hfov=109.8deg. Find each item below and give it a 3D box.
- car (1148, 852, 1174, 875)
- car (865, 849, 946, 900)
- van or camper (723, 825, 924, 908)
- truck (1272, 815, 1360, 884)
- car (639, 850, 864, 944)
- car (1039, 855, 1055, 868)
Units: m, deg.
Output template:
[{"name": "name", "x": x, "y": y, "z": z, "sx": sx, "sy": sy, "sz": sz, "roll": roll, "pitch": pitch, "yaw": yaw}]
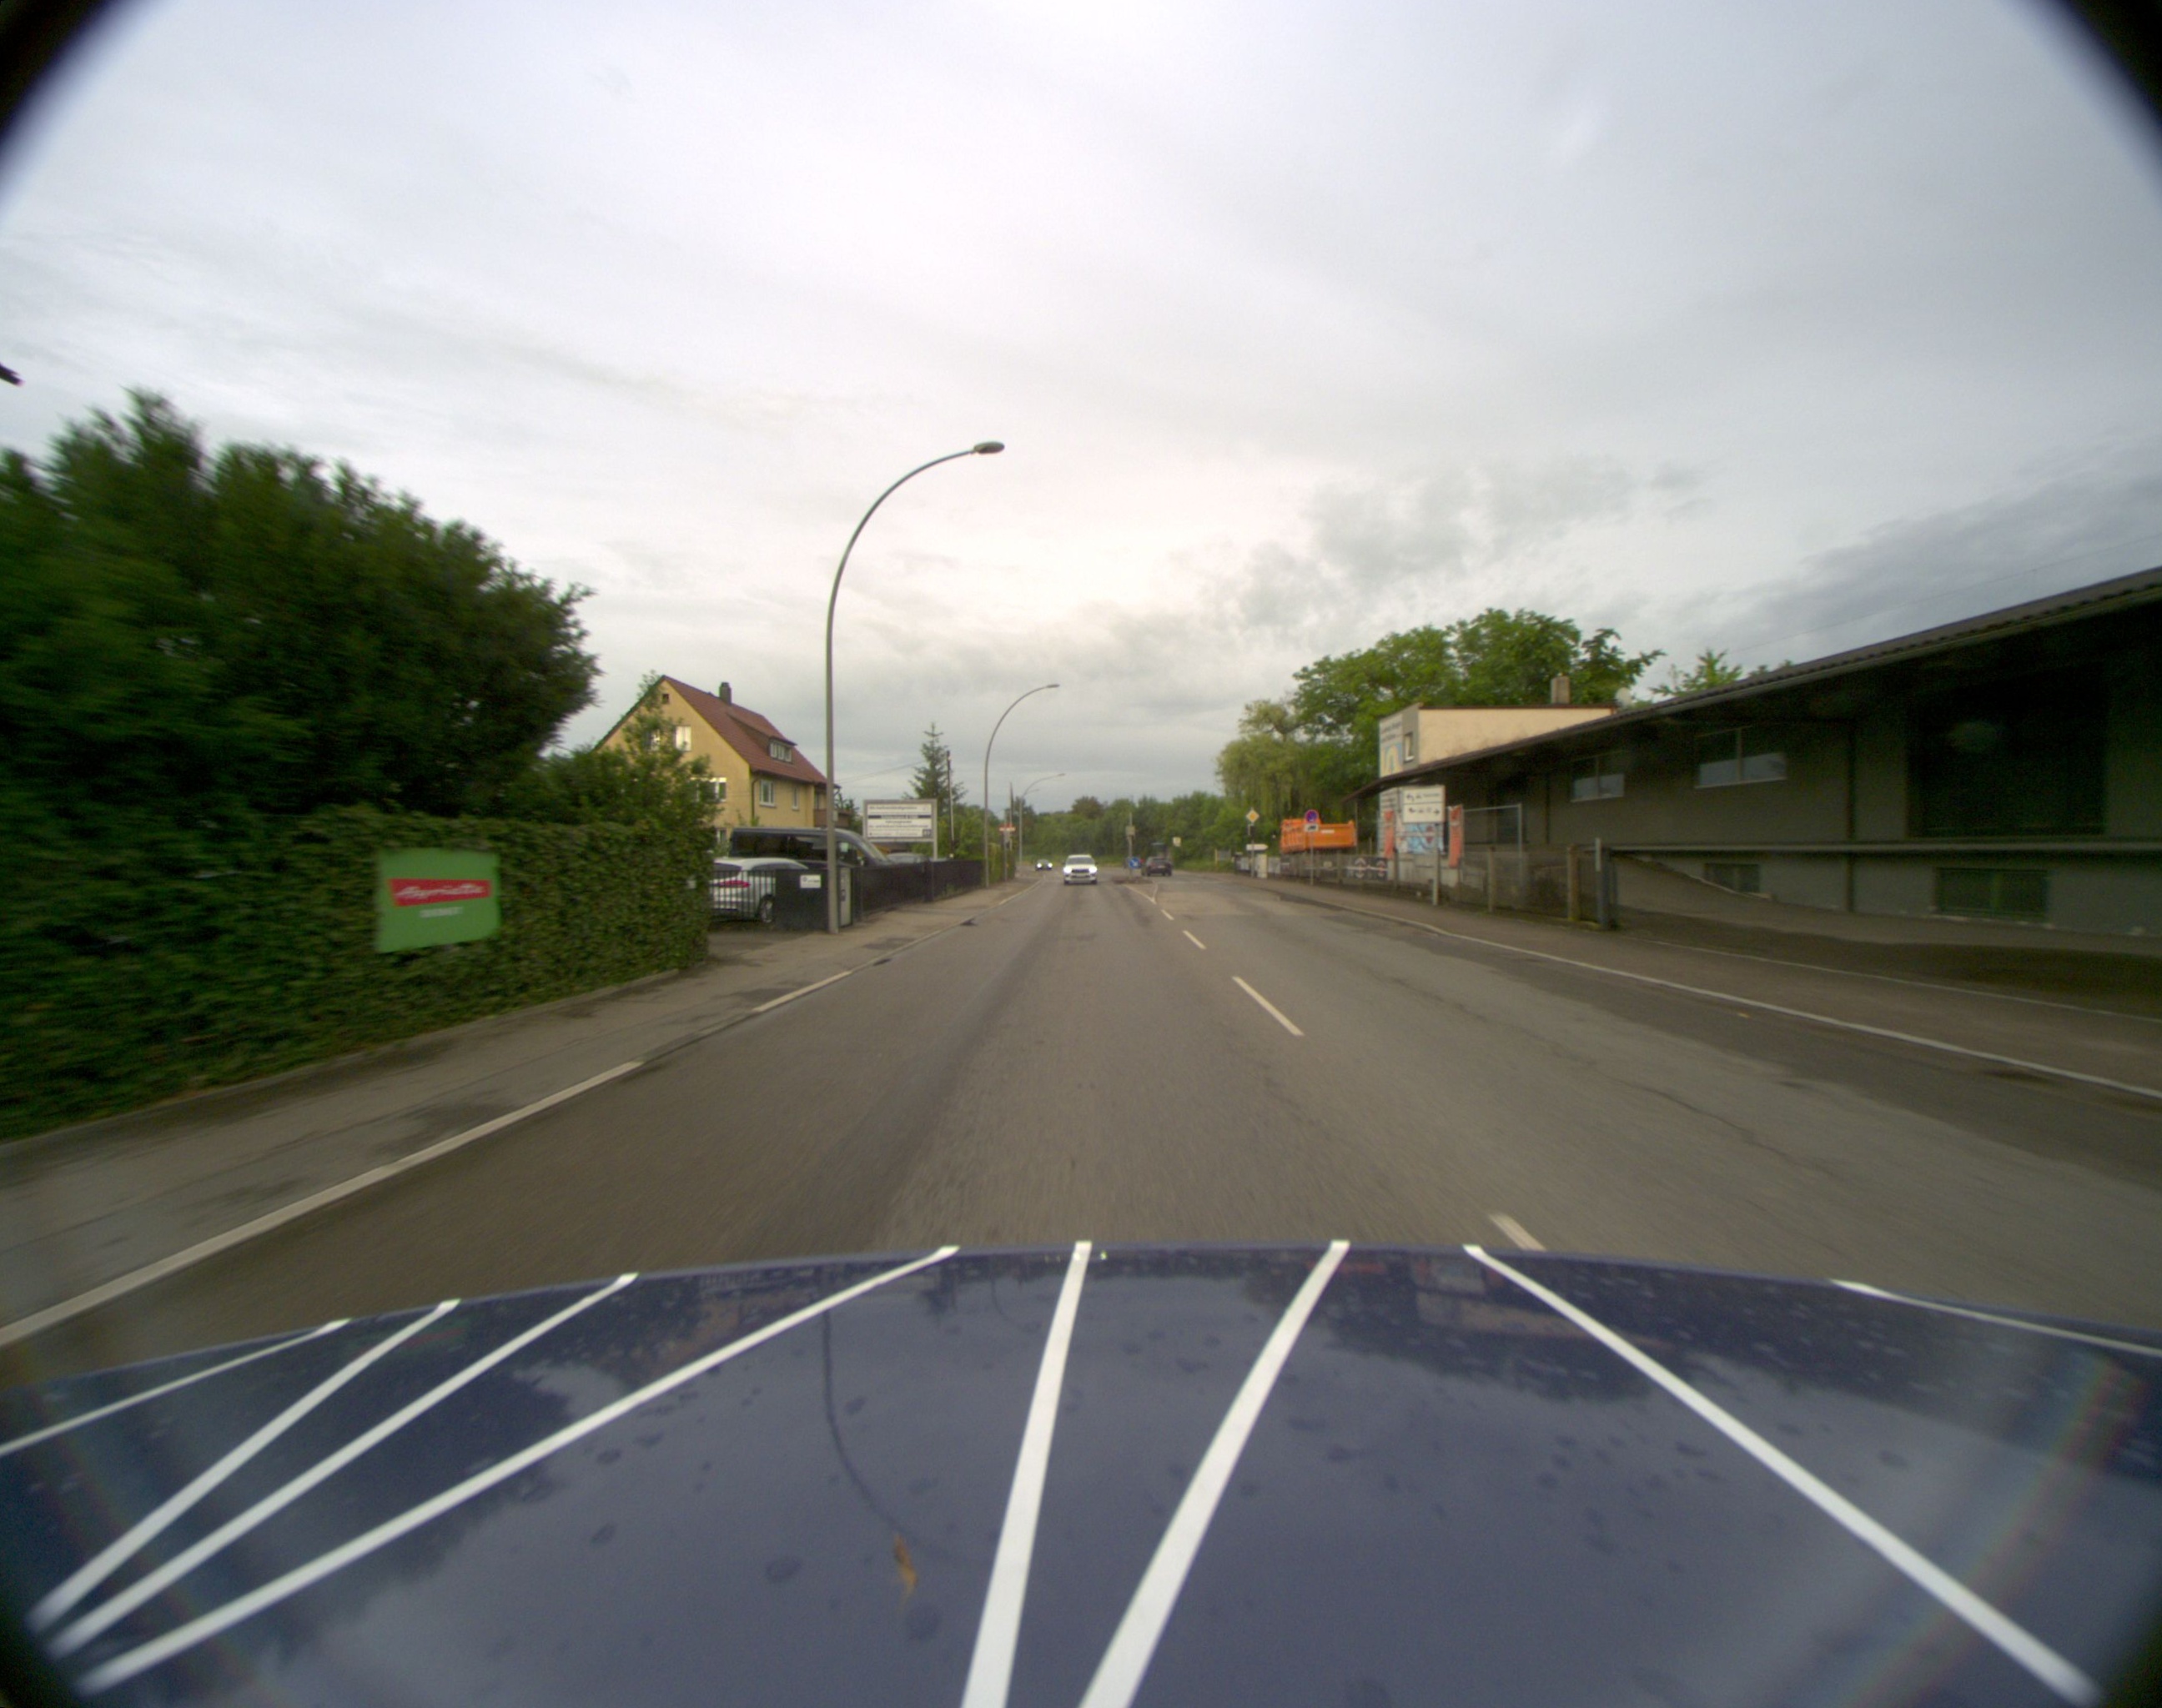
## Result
[{"name": "car", "x": 6.087, "y": 0.696, "z": 58.324, "sx": 1.746, "sy": 1.443, "sz": 4.542, "roll": -3, "pitch": 2, "yaw": 3}, {"name": "car", "x": -6.653, "y": 0.712, "z": 29.283, "sx": 1.665, "sy": 1.558, "sz": 4.566, "roll": -3, "pitch": 2, "yaw": 5}, {"name": "van or camper", "x": -8.524, "y": 0.376, "z": 25.568, "sx": 5.918, "sy": 2.472, "sz": 2.131, "roll": -2, "pitch": 3, "yaw": 2}, {"name": "truck", "x": 12.983, "y": -0.410, "z": 42.815, "sx": 2.703, "sy": 3.393, "sz": 9.071, "roll": -3, "pitch": 2, "yaw": 5}, {"name": "car", "x": -7.493, "y": 0.885, "z": 18.081, "sx": 2.124, "sy": 1.641, "sz": 5.238, "roll": -2, "pitch": 2, "yaw": 13}, {"name": "car", "x": -4.376, "y": 0.995, "z": 97.482, "sx": 1.838, "sy": 1.609, "sz": 3.998, "roll": -1, "pitch": 0, "yaw": -4}]
